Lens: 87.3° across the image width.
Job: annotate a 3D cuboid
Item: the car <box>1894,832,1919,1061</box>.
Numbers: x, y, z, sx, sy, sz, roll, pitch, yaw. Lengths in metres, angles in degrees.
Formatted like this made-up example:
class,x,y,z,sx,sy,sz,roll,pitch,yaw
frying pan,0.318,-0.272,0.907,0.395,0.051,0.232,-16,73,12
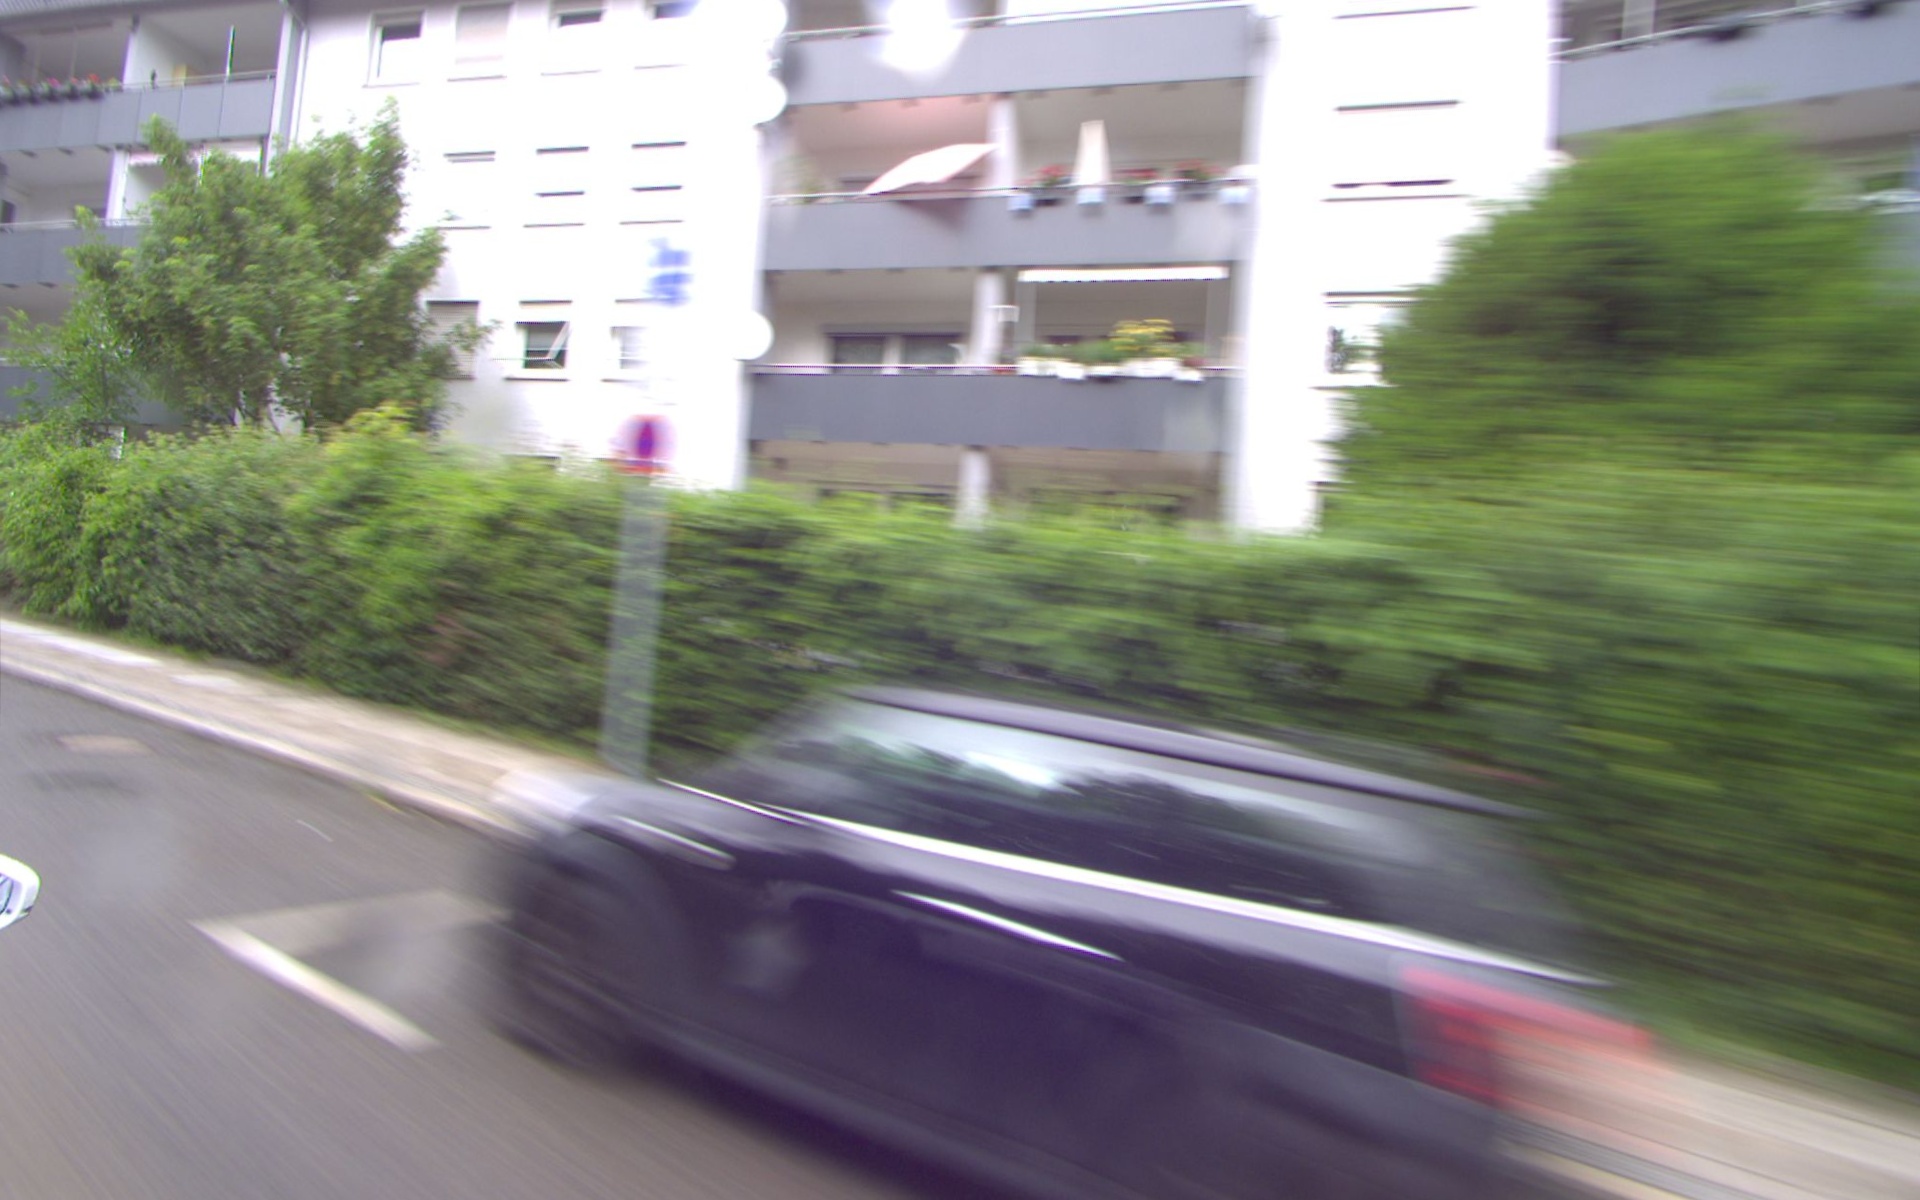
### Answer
class,x,y,z,sx,sy,sz,roll,pitch,yaw
car,8.363,2.444,5.716,4.133,1.530,1.726,2,-6,28

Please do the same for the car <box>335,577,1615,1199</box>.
class,x,y,z,sx,sy,sz,roll,pitch,yaw
car,-0.119,0.924,3.559,3.795,1.441,1.711,6,-4,28

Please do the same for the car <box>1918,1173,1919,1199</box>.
class,x,y,z,sx,sy,sz,roll,pitch,yaw
car,4.161,1.431,1.076,4.176,1.442,1.711,6,-4,28

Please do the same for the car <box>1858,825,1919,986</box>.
class,x,y,z,sx,sy,sz,roll,pitch,yaw
car,11.495,3.269,9.302,4.353,1.393,1.783,6,-4,28
